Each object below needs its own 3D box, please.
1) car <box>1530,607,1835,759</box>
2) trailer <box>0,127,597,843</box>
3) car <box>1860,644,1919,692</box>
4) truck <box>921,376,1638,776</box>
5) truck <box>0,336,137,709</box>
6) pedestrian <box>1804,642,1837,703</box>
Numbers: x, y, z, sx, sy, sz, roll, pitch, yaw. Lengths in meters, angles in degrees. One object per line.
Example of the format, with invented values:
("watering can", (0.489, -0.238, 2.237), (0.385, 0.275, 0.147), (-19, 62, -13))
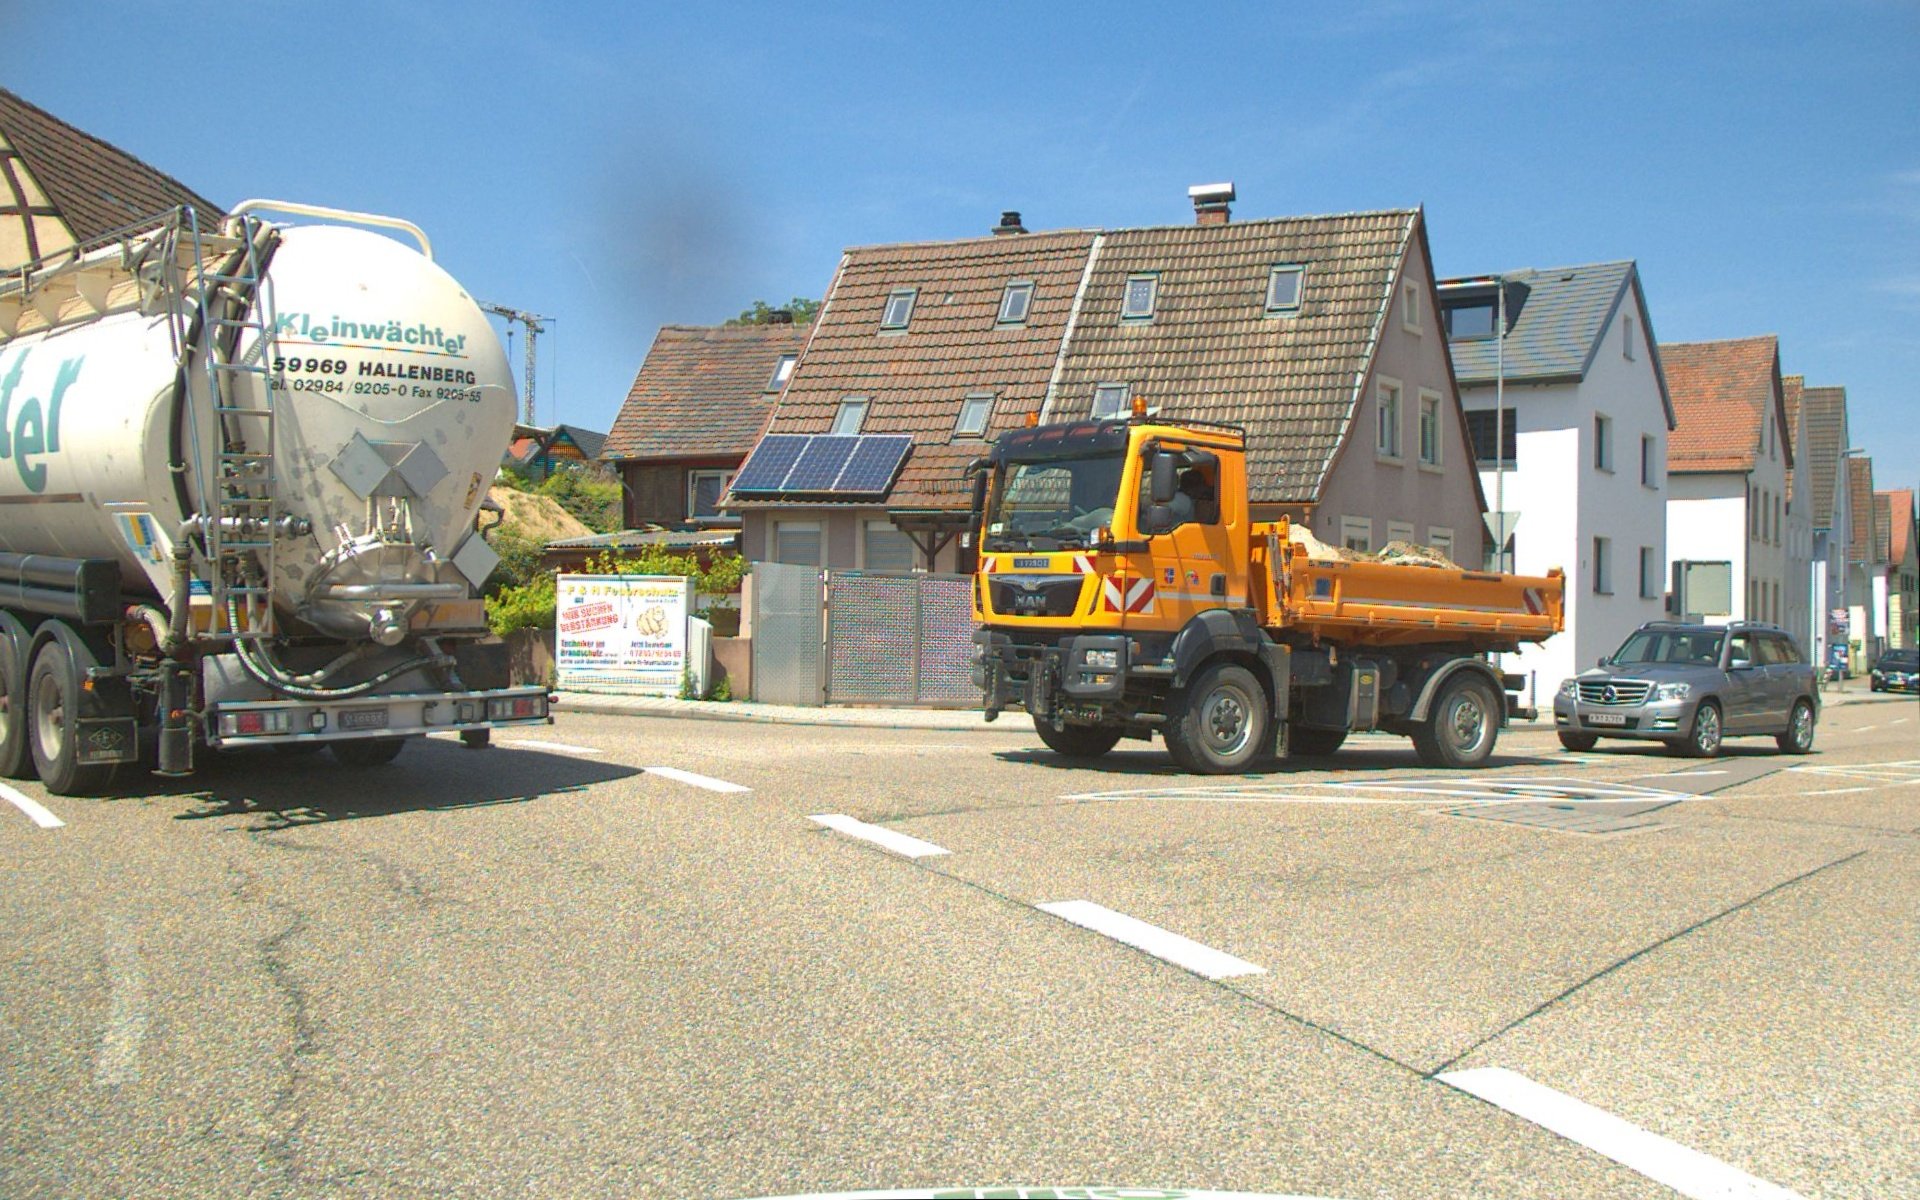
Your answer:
("car", (9.303, 1.045, 21.143), (4.275, 1.704, 1.970), (3, -2, -42))
("trailer", (-7.466, -0.742, 14.505), (2.938, 4.017, 11.436), (2, 0, -43))
("car", (34.542, 2.473, 60.856), (1.691, 1.624, 3.978), (1, 0, 40))
("truck", (3.430, -0.036, 16.573), (7.373, 3.237, 2.638), (3, -2, -35))
("truck", (-12.769, -0.863, 19.189), (5.449, 4.034, 2.996), (1, 0, 24))
("pedestrian", (29.304, 2.452, 56.314), (0.757, 2.049, 0.971), (1, -1, 41))
